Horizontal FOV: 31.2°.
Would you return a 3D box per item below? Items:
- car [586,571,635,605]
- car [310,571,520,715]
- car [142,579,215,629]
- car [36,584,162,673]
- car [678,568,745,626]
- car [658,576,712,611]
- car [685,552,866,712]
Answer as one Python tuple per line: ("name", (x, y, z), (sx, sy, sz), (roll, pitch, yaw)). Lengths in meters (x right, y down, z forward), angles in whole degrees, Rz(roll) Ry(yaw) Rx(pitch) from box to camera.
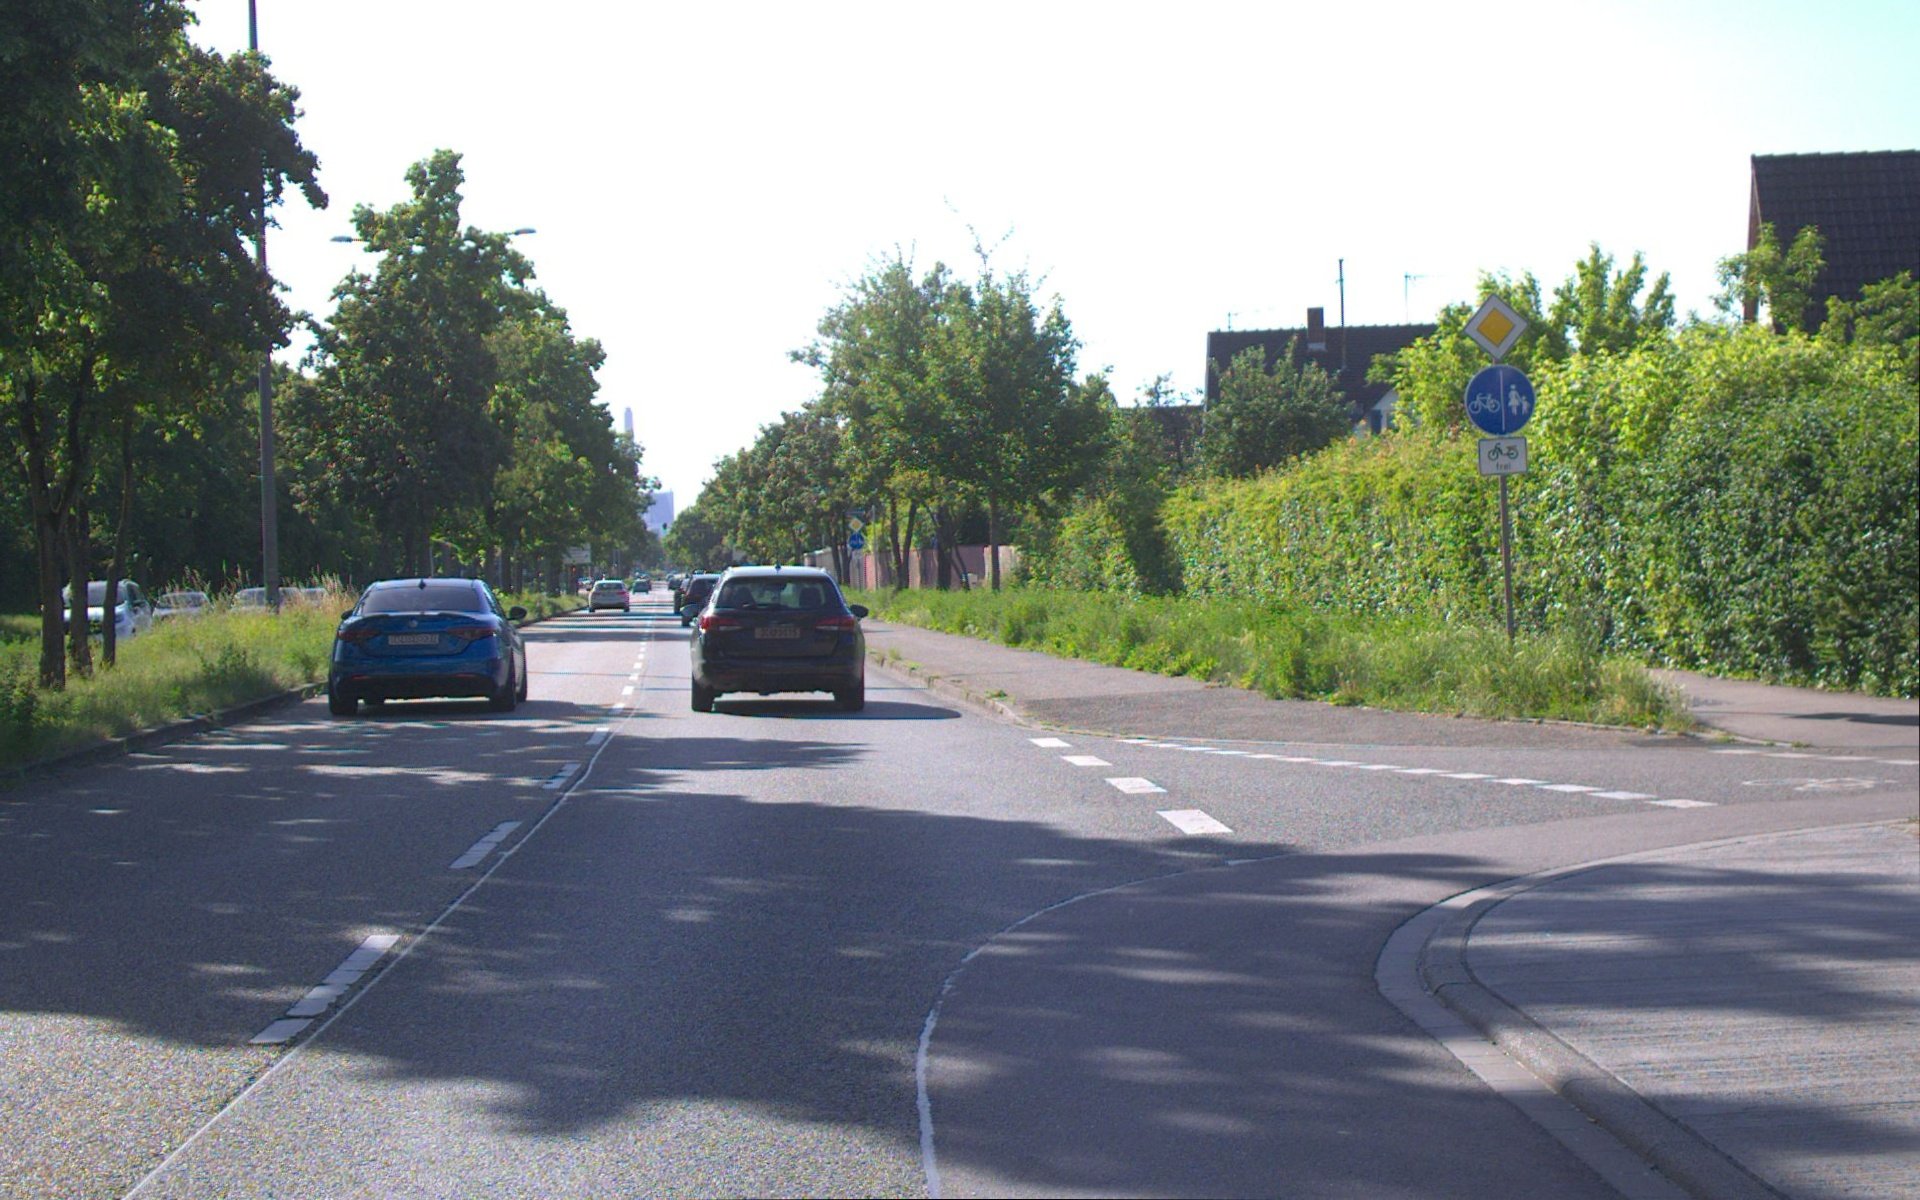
("car", (-15.827, -0.543, 155.480), (1.978, 1.435, 4.001), (-1, 1, -9))
("car", (-5.773, 0.418, 36.821), (1.994, 1.400, 4.001), (-1, 1, -6))
("car", (-24.926, 0.104, 109.794), (1.805, 1.495, 4.597), (-1, 1, -7))
("car", (-17.044, 0.538, 68.205), (1.730, 1.626, 4.198), (-2, 1, -5))
("car", (-7.298, -0.108, 100.715), (1.743, 1.592, 4.176), (-1, 1, -7))
("car", (-11.327, -0.273, 141.349), (1.898, 1.351, 4.001), (-1, 1, -9))
("car", (-1.950, 0.314, 35.854), (1.760, 1.554, 4.000), (1, 0, -4))
